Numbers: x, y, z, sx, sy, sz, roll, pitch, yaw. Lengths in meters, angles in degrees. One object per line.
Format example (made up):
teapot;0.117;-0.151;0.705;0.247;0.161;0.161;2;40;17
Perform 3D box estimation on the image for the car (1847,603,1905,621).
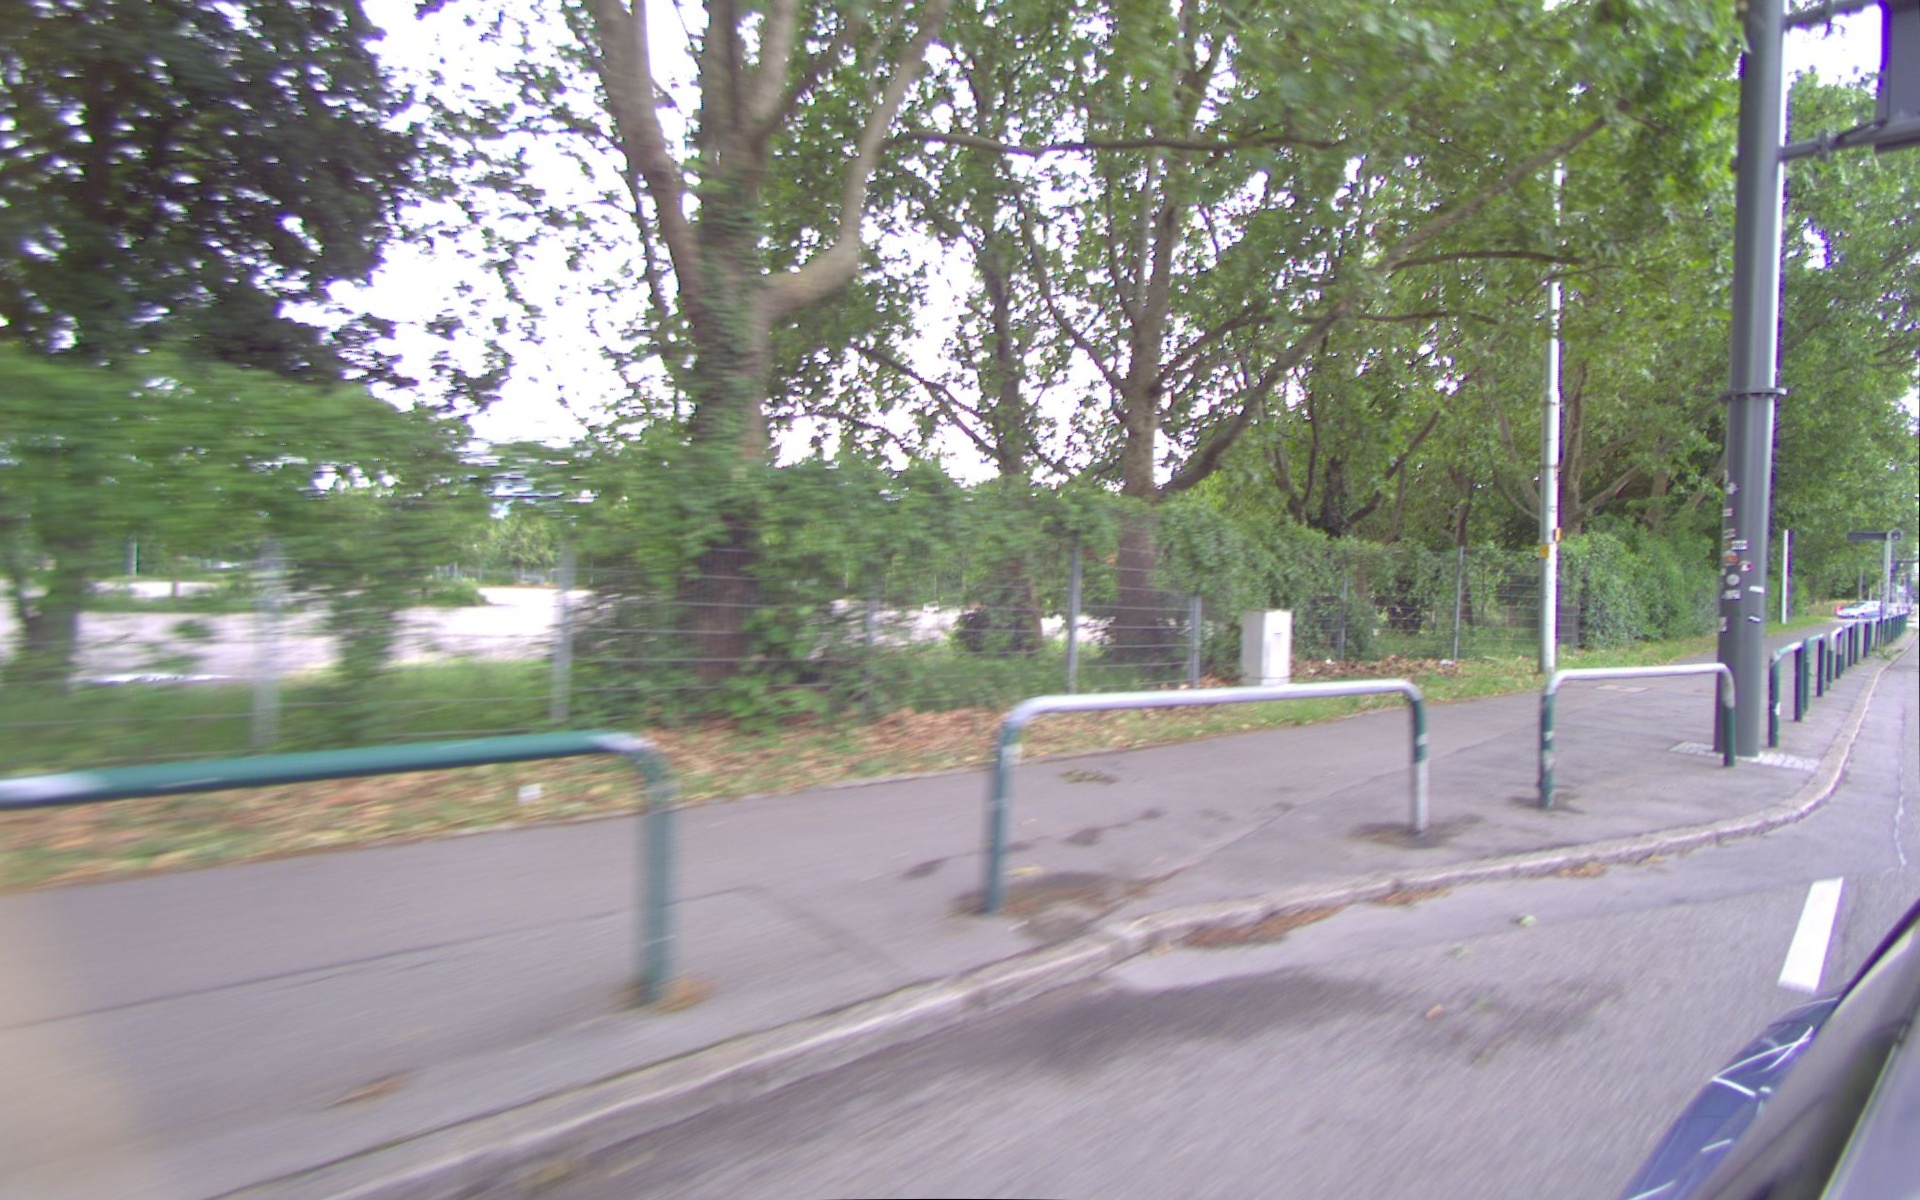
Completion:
car;78.622;1.012;86.857;3.791;1.388;1.746;1;1;-12
